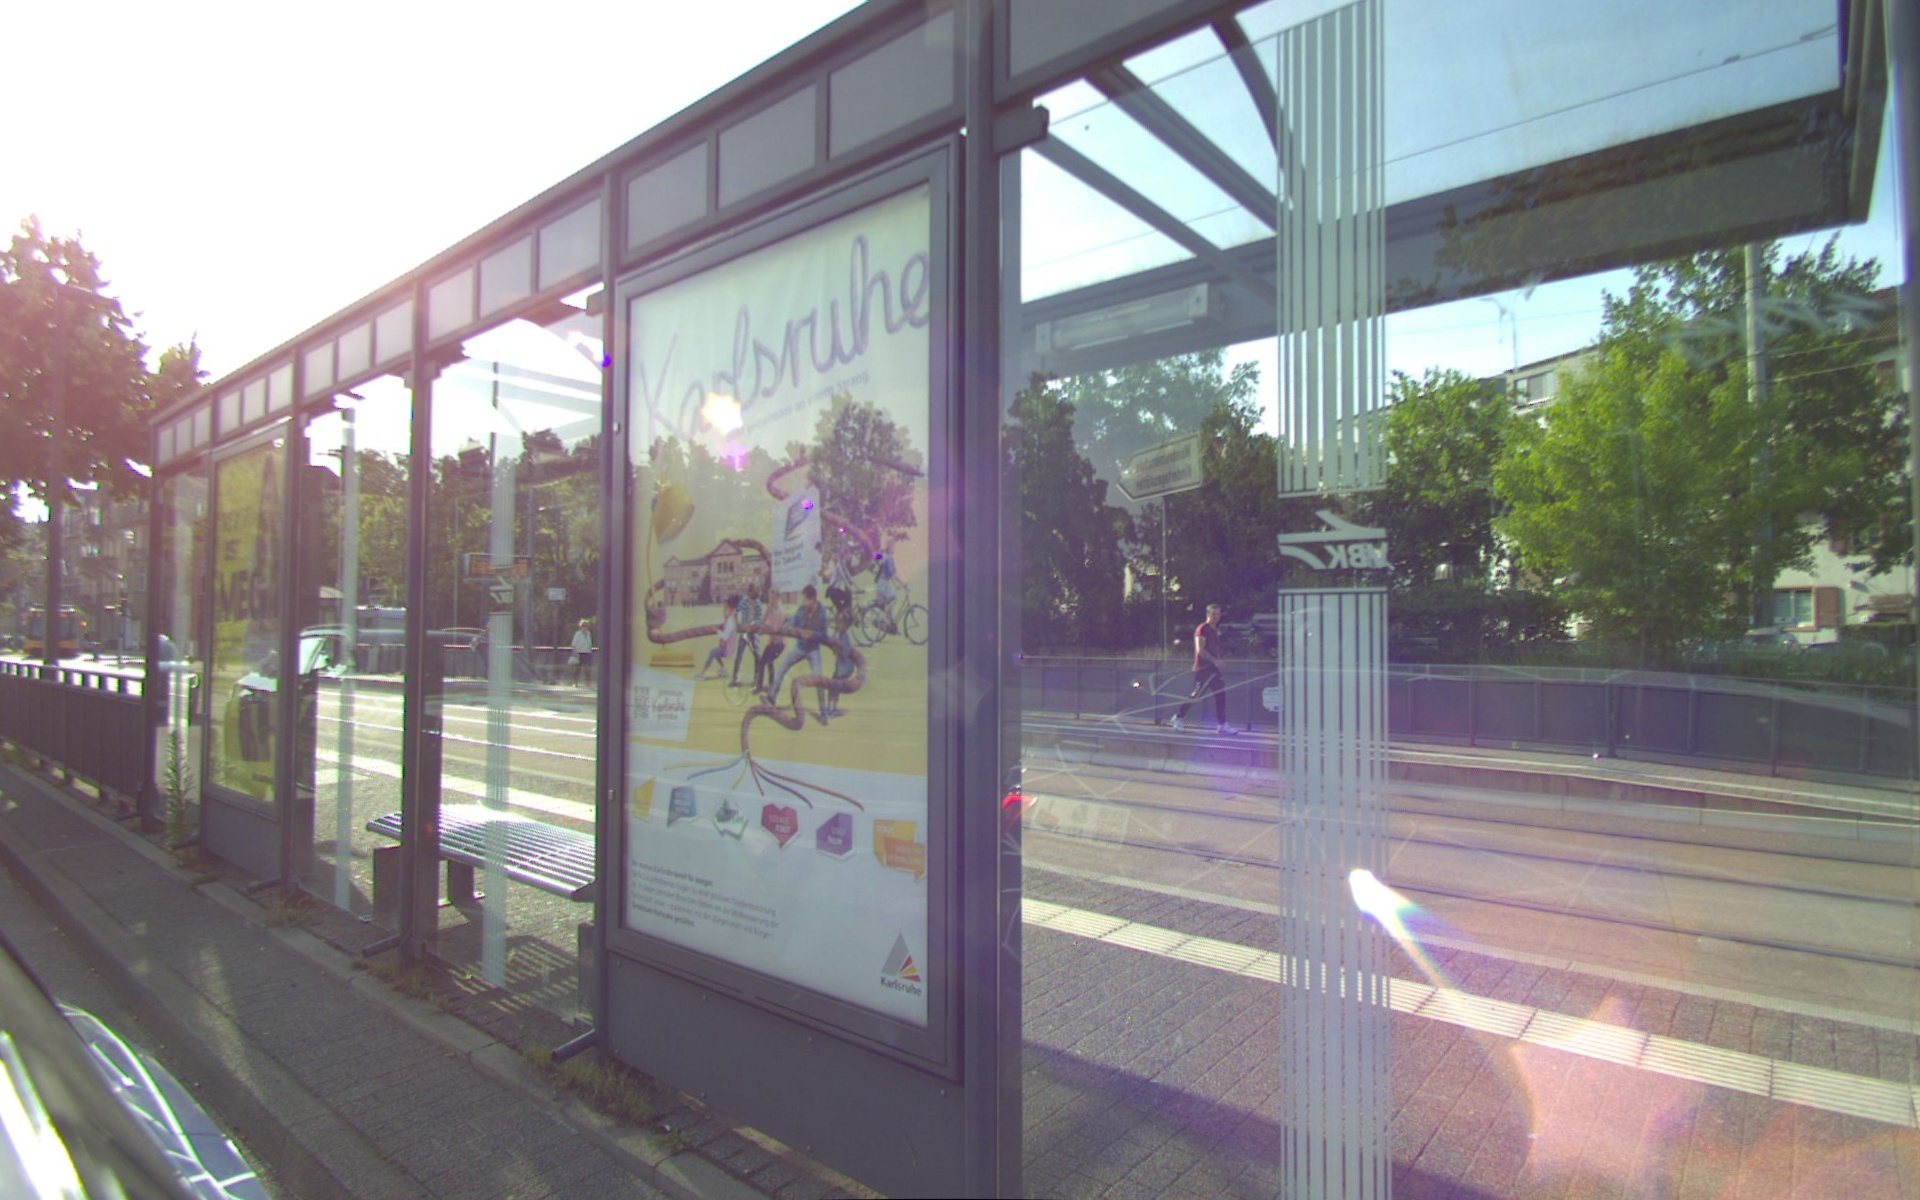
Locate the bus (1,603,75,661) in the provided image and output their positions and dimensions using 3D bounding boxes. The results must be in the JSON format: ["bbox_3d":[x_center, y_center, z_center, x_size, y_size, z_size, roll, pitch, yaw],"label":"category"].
[{"bbox_3d":[-58.596,1.985,64.213,9.256,3.461,2.406,-1,-1,41],"label":"bus"}]

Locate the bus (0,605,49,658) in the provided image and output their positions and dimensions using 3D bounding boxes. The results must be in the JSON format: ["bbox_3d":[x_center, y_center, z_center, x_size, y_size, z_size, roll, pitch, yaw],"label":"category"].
[{"bbox_3d":[-65.610,2.105,70.284,9.256,3.461,2.406,-1,-1,41],"label":"bus"}]

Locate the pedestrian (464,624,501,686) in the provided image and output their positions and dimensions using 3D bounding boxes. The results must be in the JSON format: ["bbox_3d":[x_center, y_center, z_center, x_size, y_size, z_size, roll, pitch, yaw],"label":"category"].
[{"bbox_3d":[-13.242,1.525,28.044,0.618,1.697,0.613,-2,-7,40],"label":"pedestrian"}]

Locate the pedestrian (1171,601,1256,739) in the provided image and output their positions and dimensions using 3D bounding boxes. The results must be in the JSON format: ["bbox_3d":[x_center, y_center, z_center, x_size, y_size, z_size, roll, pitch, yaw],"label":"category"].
[{"bbox_3d":[3.236,0.889,12.921,0.877,1.697,0.547,-2,-7,41],"label":"pedestrian"}]

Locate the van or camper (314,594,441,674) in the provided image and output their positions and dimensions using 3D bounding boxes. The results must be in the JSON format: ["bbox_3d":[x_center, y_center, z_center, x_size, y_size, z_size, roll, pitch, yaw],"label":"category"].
[{"bbox_3d":[-23.734,1.315,41.097,6.407,2.990,2.495,-1,-1,41],"label":"van or camper"}]

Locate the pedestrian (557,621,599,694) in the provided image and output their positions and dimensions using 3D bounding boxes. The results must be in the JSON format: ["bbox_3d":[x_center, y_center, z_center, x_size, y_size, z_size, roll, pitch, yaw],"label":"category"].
[{"bbox_3d":[-9.063,1.364,24.006,0.618,1.697,0.613,-2,-7,40],"label":"pedestrian"}]
